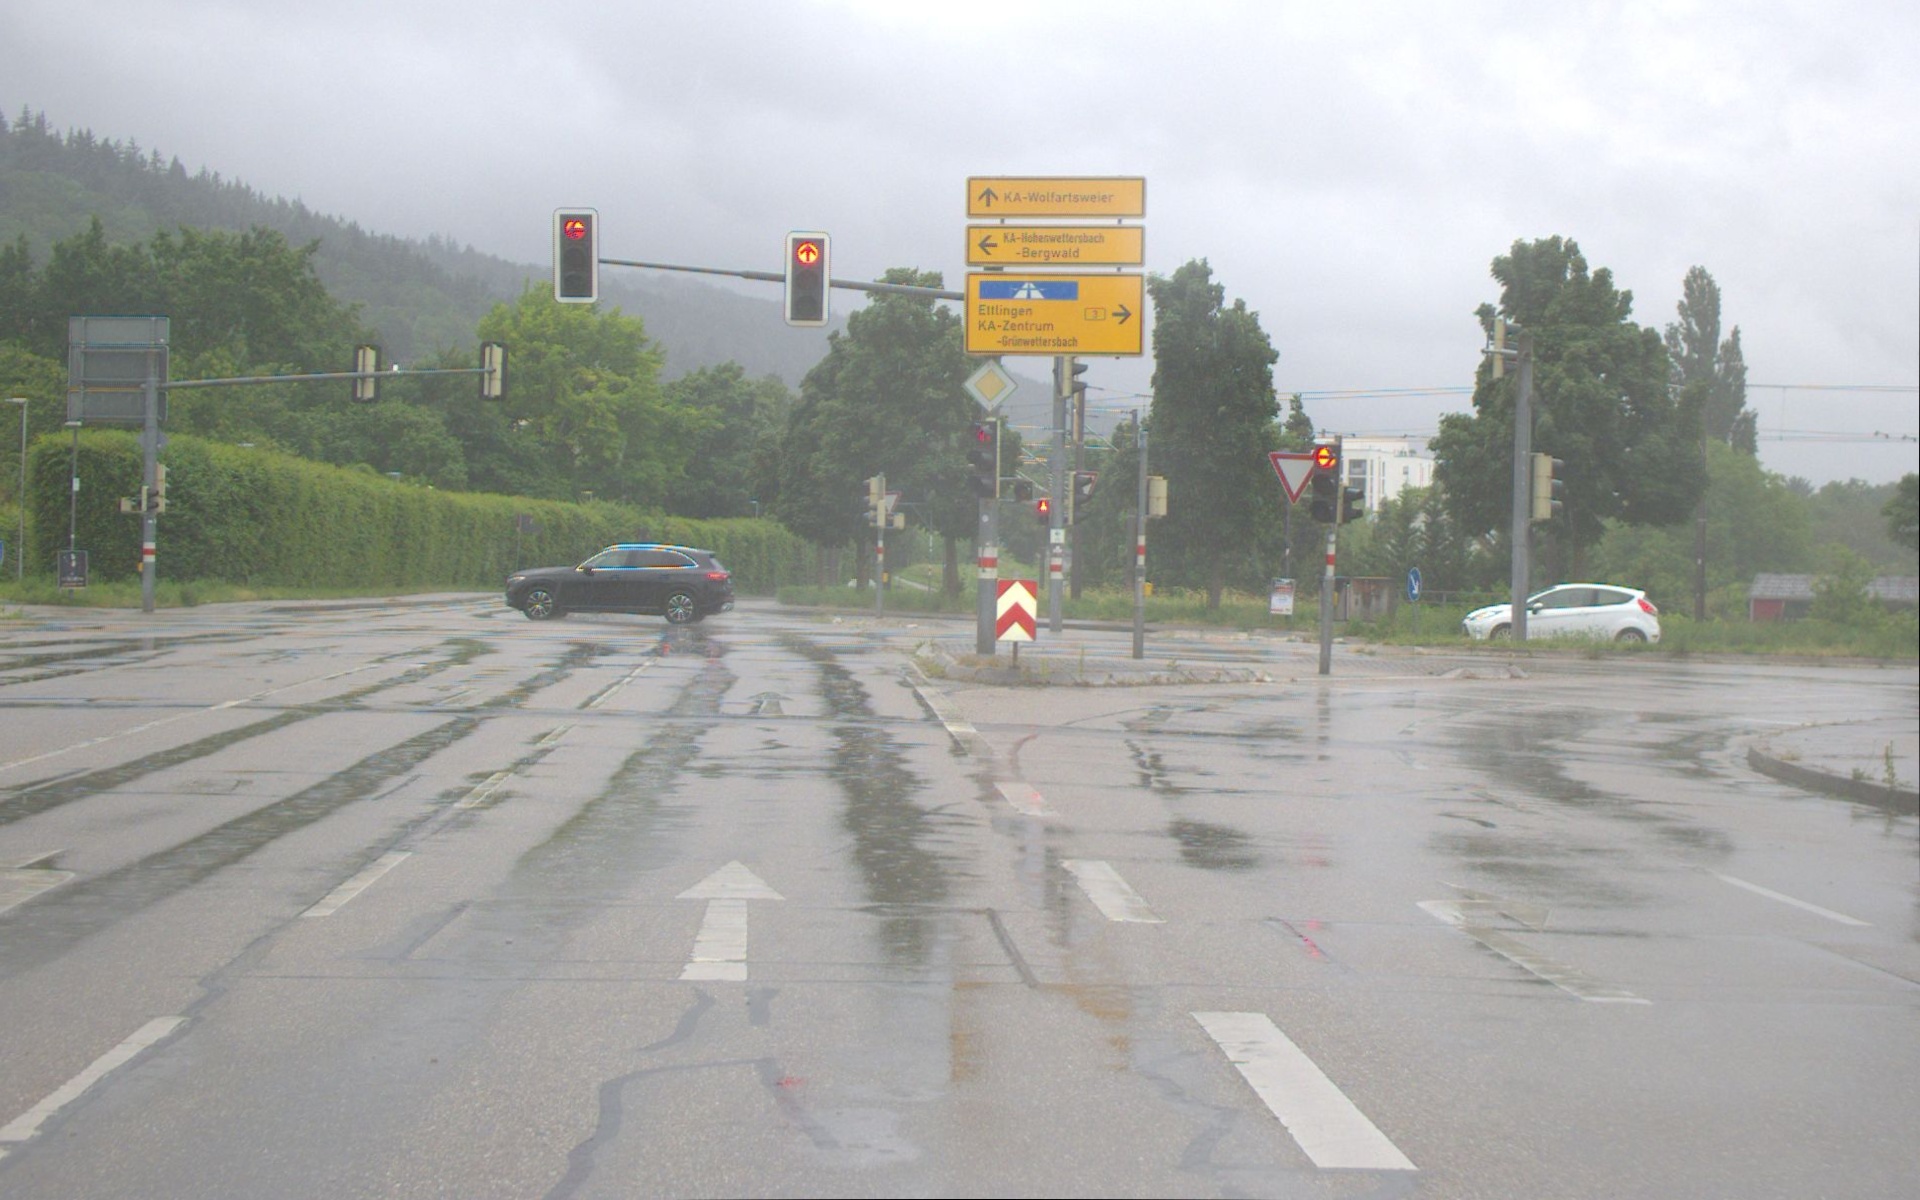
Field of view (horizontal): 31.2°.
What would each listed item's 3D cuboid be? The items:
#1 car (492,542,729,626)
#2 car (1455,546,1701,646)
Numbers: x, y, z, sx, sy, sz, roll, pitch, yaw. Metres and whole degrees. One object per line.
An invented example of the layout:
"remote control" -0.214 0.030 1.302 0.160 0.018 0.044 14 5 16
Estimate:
"car" -7.177 -0.342 70.922 4.669 1.633 1.822 1 1 1
"car" 12.509 -0.104 69.812 4.670 1.909 1.915 1 1 3
